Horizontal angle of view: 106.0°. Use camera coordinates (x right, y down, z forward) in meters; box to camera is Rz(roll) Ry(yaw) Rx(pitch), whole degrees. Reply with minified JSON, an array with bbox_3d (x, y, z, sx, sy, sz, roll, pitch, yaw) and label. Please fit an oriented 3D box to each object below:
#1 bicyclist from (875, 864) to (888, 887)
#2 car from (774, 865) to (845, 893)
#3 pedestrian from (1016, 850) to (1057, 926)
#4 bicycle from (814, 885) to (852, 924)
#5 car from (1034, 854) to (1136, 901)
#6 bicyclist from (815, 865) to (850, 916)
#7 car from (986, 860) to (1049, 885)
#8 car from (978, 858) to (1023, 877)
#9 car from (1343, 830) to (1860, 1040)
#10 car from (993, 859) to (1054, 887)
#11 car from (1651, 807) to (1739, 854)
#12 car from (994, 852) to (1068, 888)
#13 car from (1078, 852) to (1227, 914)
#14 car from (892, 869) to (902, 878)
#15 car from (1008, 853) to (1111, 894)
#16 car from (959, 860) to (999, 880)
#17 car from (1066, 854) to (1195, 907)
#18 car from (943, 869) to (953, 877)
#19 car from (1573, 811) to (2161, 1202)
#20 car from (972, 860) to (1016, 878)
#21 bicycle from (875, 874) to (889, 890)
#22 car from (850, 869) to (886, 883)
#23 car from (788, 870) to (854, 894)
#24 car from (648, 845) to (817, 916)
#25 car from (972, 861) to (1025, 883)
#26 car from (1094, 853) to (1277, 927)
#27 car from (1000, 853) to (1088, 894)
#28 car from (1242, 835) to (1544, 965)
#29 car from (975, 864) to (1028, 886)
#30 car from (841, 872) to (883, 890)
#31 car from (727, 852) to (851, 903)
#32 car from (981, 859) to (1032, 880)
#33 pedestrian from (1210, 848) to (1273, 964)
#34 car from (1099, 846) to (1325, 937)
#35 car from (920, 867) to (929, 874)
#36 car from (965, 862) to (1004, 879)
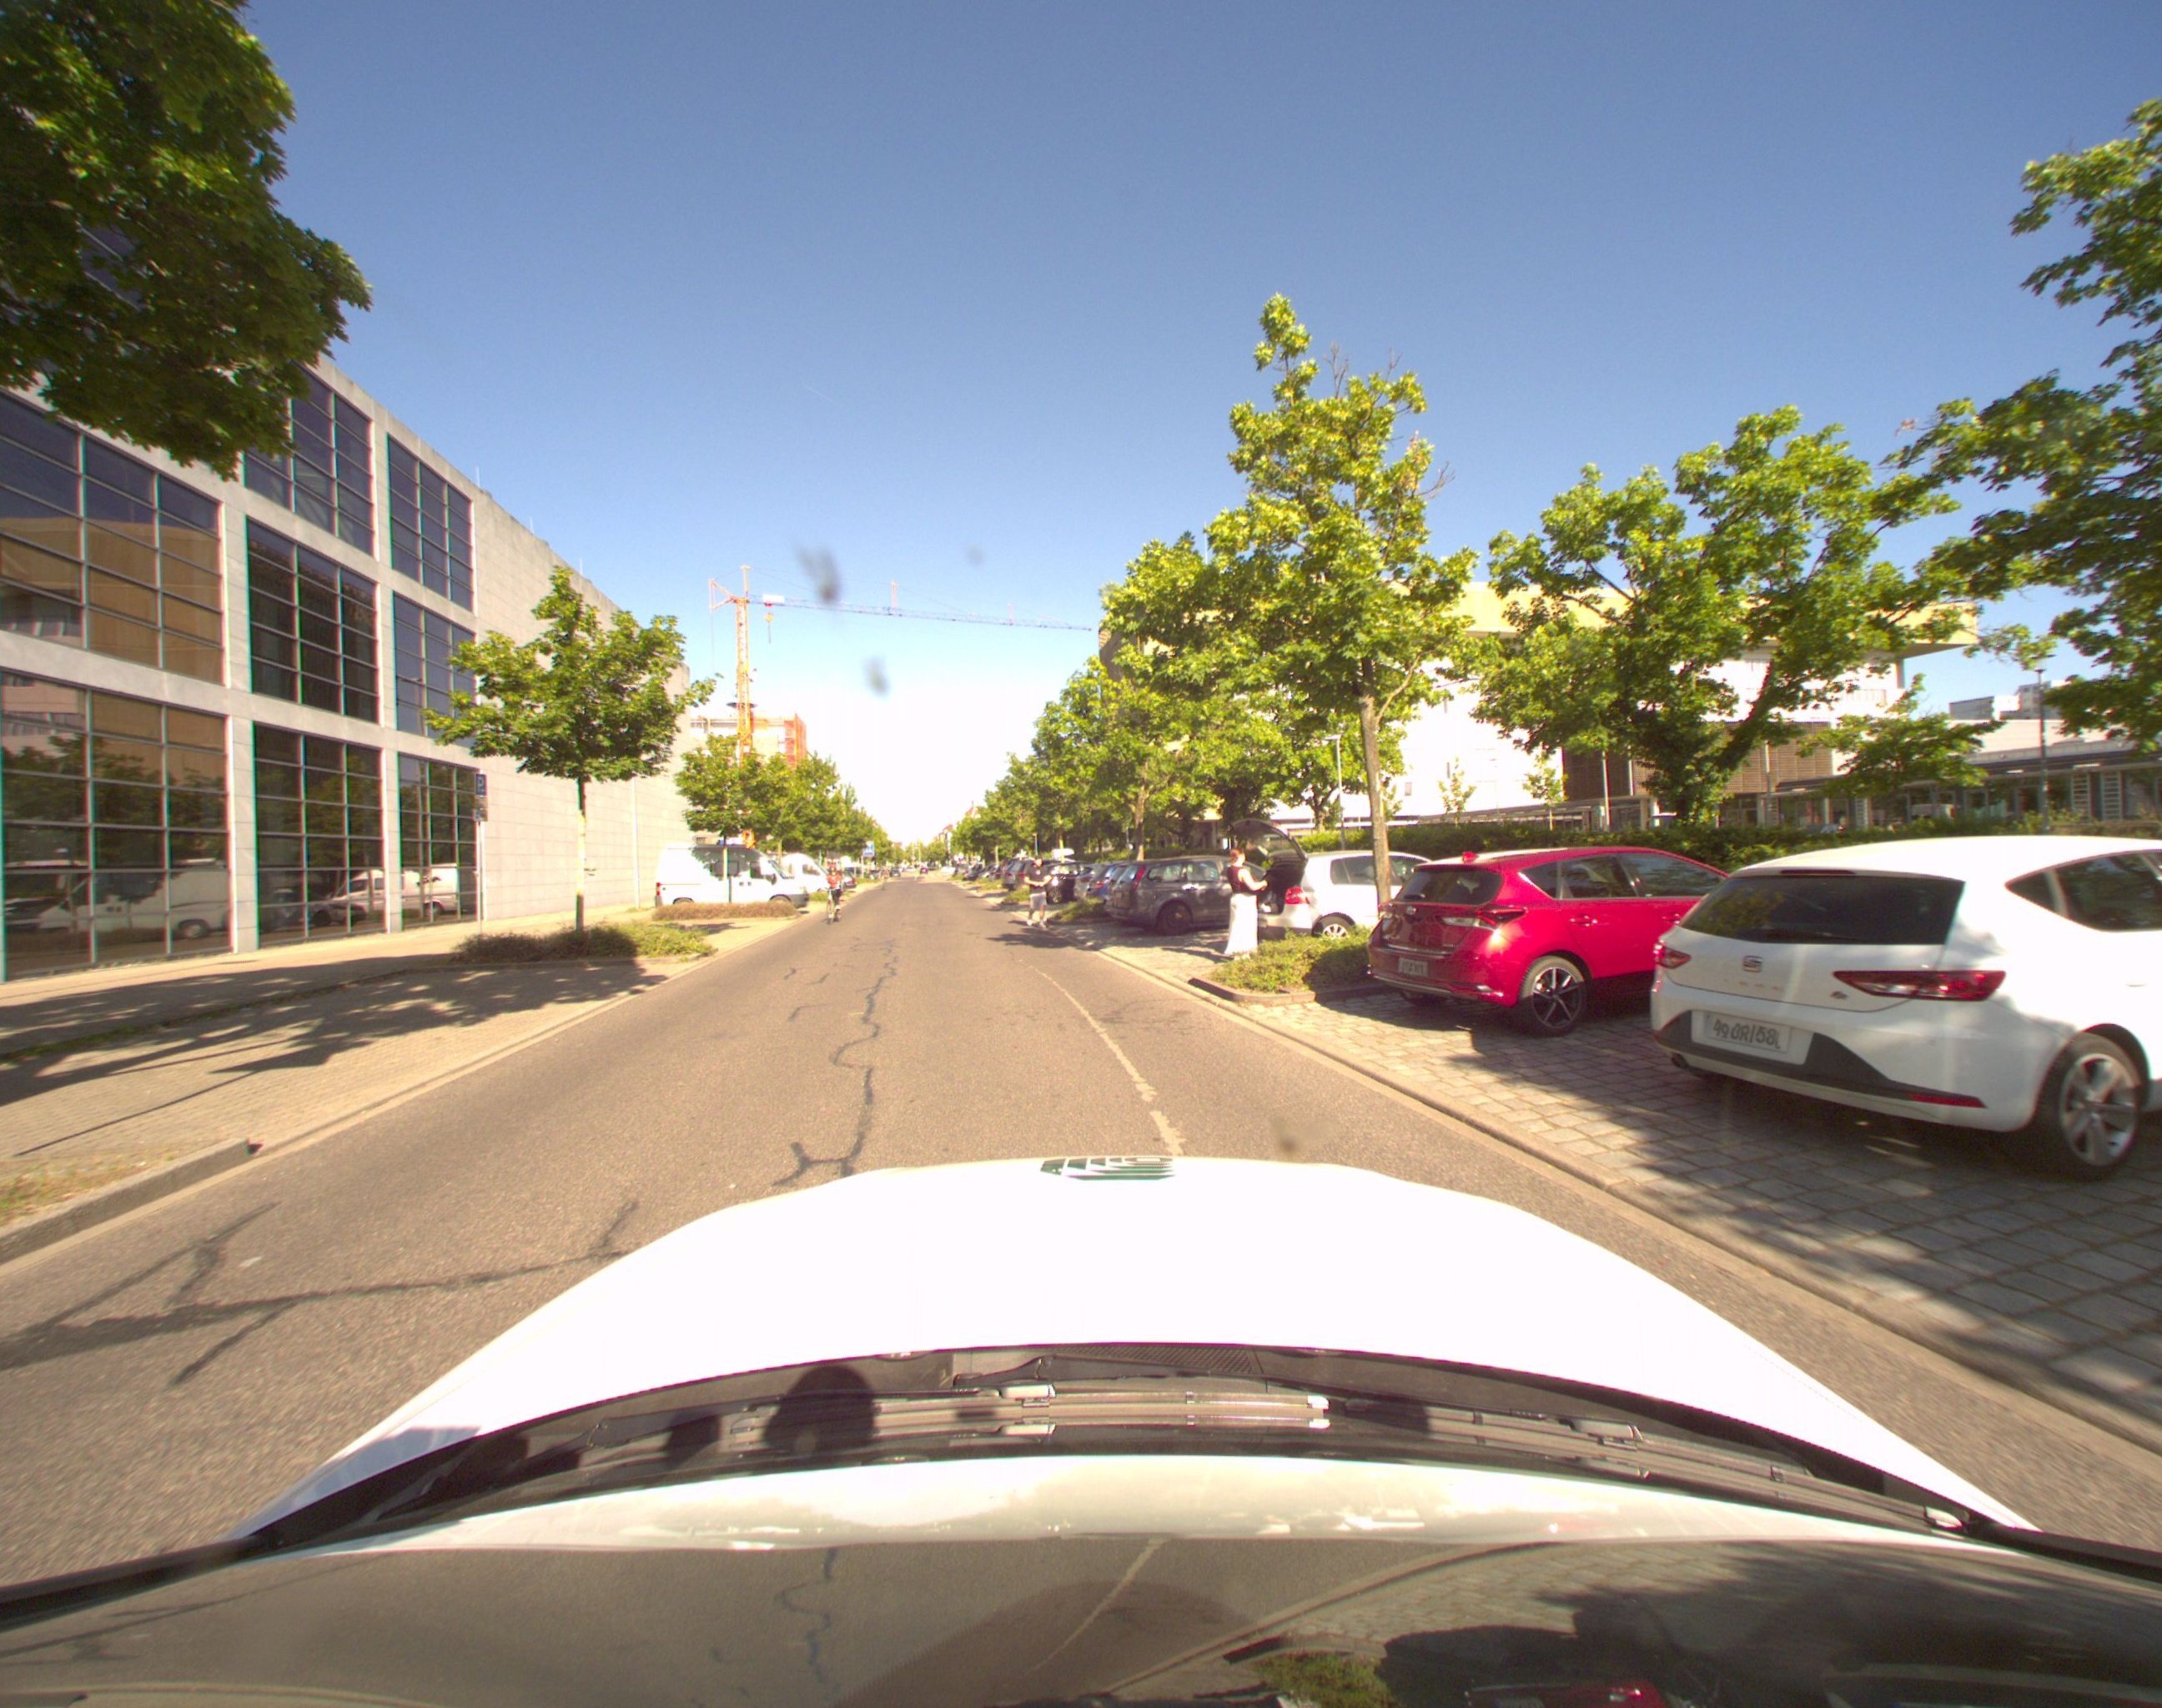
[{"bbox_3d":[-14.166,1.522,57.915,0.683,1.581,1.058,-3,-1,-7],"label":"bicyclist"},{"bbox_3d":[-16.994,1.578,51.163,3.985,1.664,1.822,-1,-1,-9],"label":"car"},{"bbox_3d":[-1.099,0.827,20.047,0.720,1.771,1.163,-4,-1,-12],"label":"pedestrian"},{"bbox_3d":[-7.315,1.472,24.089,0.757,1.002,1.865,-4,0,-10],"label":"bicycle"},{"bbox_3d":[0.133,0.884,30.522,3.457,1.489,1.739,-3,-1,-14],"label":"car"},{"bbox_3d":[-7.344,1.070,24.126,0.757,1.431,1.128,-4,0,-10],"label":"bicyclist"},{"bbox_3d":[-4.398,1.254,56.126,4.063,1.425,1.735,-4,-1,-10],"label":"car"},{"bbox_3d":[-7.388,1.268,74.554,3.989,1.538,1.854,-2,-1,-11],"label":"car"},{"bbox_3d":[4.594,0.616,7.373,3.904,1.426,1.665,-3,-1,-14],"label":"car"},{"bbox_3d":[-3.674,1.192,51.560,3.611,1.549,1.699,-3,1,-14],"label":"car"},{"bbox_3d":[36.171,-1.373,48.035,3.634,2.491,2.225,-3,0,-10],"label":"car"},{"bbox_3d":[-3.005,0.941,49.030,4.124,1.927,1.970,-3,1,-14],"label":"car"},{"bbox_3d":[1.998,0.806,23.460,3.895,1.497,1.836,-3,0,-10],"label":"car"},{"bbox_3d":[-35.088,3.666,155.344,1.813,1.474,4.093,-2,0,-12],"label":"car"},{"bbox_3d":[-0.999,0.861,37.070,4.328,1.608,1.902,-3,0,-15],"label":"car"},{"bbox_3d":[-10.648,1.696,85.253,3.989,1.879,1.676,-2,0,-11],"label":"car"},{"bbox_3d":[1.523,0.818,25.959,3.733,1.416,1.836,-3,0,-10],"label":"car"},{"bbox_3d":[-30.437,4.319,186.641,1.992,1.474,4.092,-2,0,-13],"label":"car"},{"bbox_3d":[5.170,0.563,4.617,3.904,1.436,1.800,-4,0,-14],"label":"car"},{"bbox_3d":[-8.274,1.426,77.422,3.989,1.582,2.024,-2,-1,-11],"label":"car"},{"bbox_3d":[-14.131,1.979,57.859,0.697,1.111,2.074,-4,0,-7],"label":"bicycle"},{"bbox_3d":[-27.035,2.763,103.584,4.339,1.474,1.808,-3,0,-15],"label":"car"},{"bbox_3d":[-17.591,1.898,55.232,4.137,1.492,1.860,0,0,-15],"label":"car"},{"bbox_3d":[-12.431,0.918,29.413,5.250,2.418,2.115,0,-1,-11],"label":"car"},{"bbox_3d":[-6.914,1.478,67.803,4.149,1.580,1.733,-3,0,-13],"label":"car"},{"bbox_3d":[2.421,0.787,19.091,3.904,1.468,1.614,-3,1,-14],"label":"car"},{"bbox_3d":[-1.810,0.909,39.333,3.904,1.695,1.931,-3,1,-14],"label":"car"},{"bbox_3d":[4.562,0.593,12.063,3.904,1.577,1.672,-3,1,-14],"label":"car"},{"bbox_3d":[-6.148,1.607,62.927,3.904,1.486,1.735,-2,0,-13],"label":"car"},{"bbox_3d":[-23.840,2.966,88.735,4.265,1.665,1.592,-2,0,-13],"label":"car"},{"bbox_3d":[-14.584,1.133,41.004,5.551,2.410,1.981,-1,-1,-10],"label":"car"},{"bbox_3d":[-6.003,1.220,65.824,3.867,1.504,1.644,-2,0,-14],"label":"car"},{"bbox_3d":[2.283,0.715,11.546,0.758,1.579,0.677,-2,1,17],"label":"pedestrian"},{"bbox_3d":[2.644,0.711,16.729,4.191,1.519,1.728,-3,0,-14],"label":"car"},{"bbox_3d":[-35.069,3.668,182.505,1.812,1.474,4.096,-2,0,-10],"label":"car"},{"bbox_3d":[-9.719,1.671,81.796,3.769,1.459,1.810,-2,-1,-12],"label":"car"}]
